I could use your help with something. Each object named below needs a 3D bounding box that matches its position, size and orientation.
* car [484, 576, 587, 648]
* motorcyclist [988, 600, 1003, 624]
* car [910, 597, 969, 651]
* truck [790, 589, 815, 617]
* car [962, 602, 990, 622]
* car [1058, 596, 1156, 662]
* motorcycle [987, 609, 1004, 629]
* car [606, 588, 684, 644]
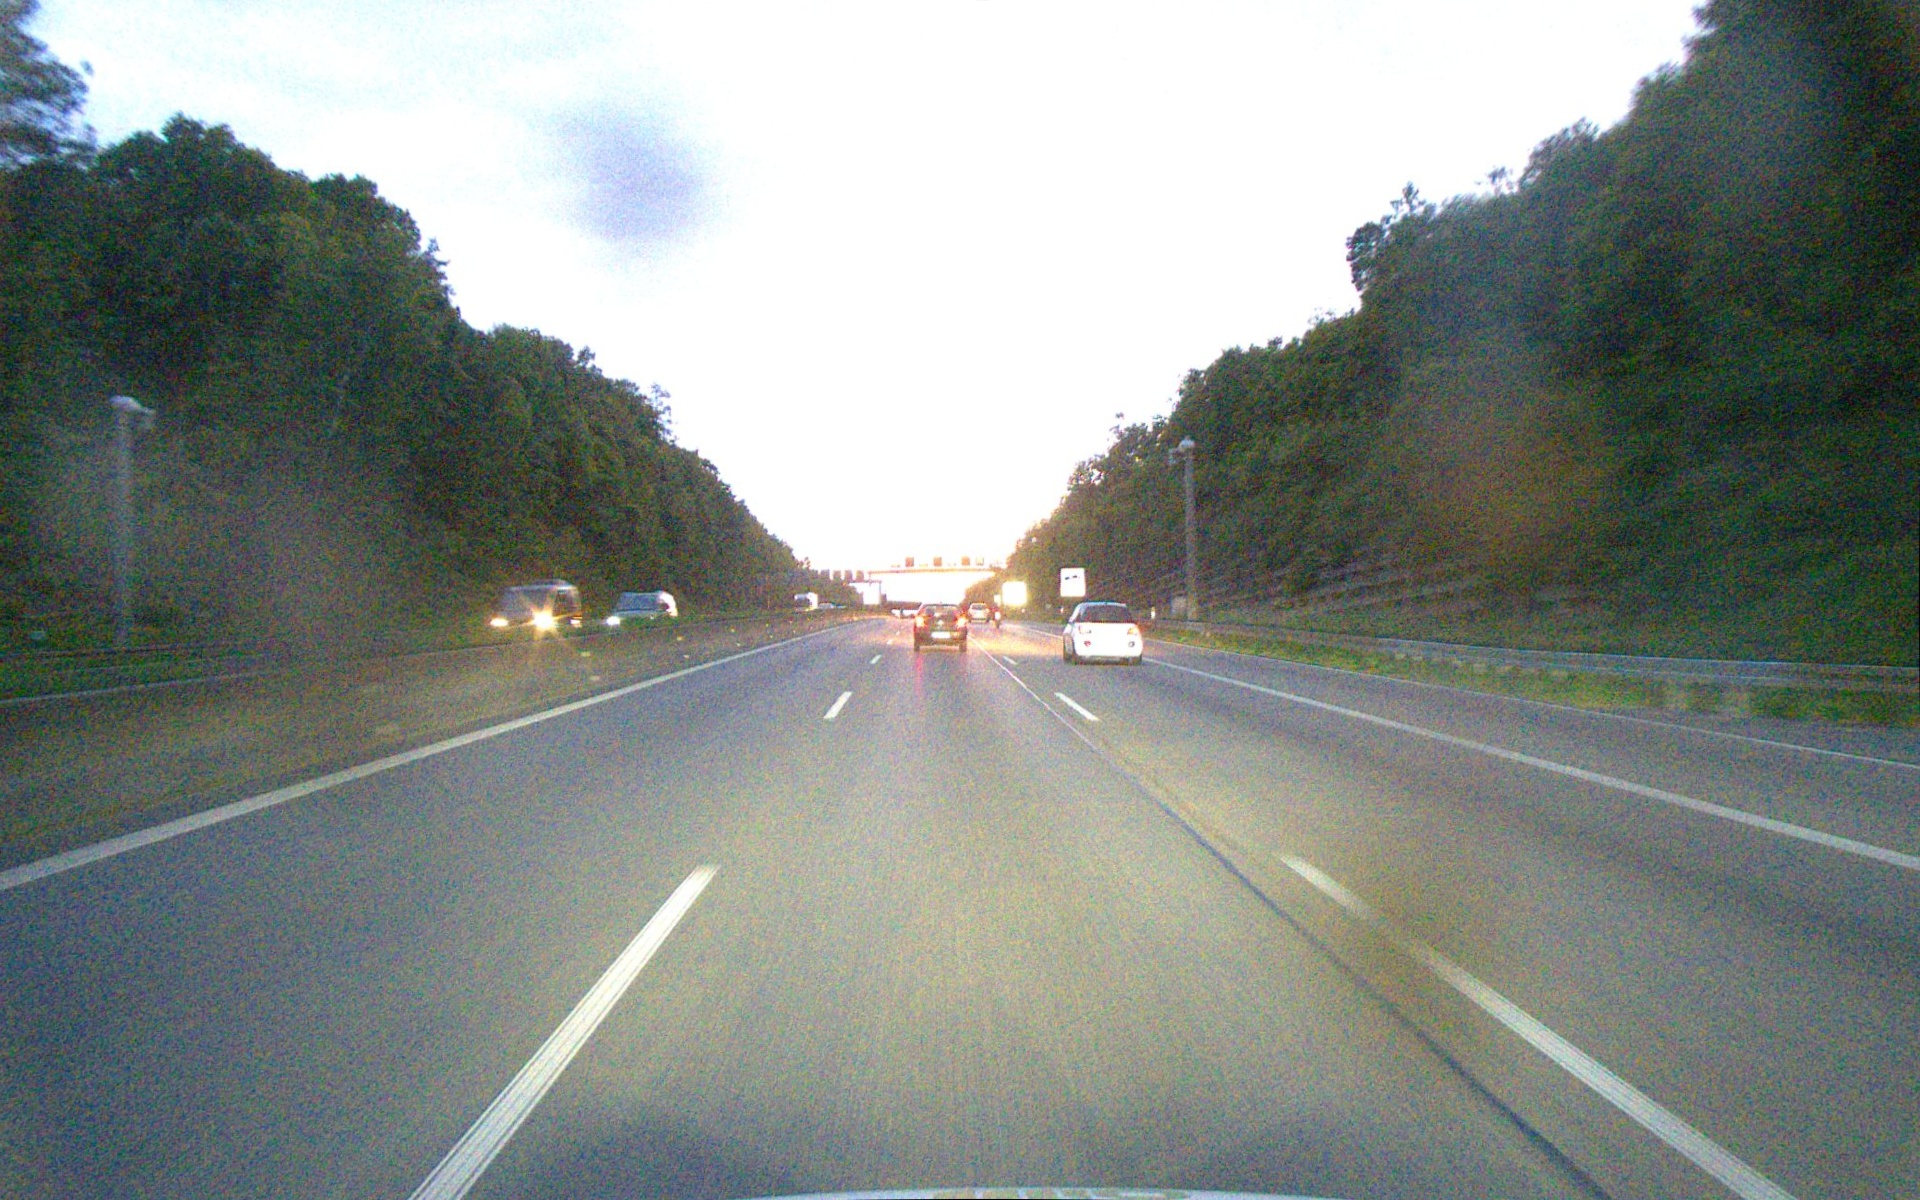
[{"bbox_3d":[-15.961,0.423,62.641,2.266,2.527,7.516,-1,0,-2],"label":"car"},{"bbox_3d":[2.018,0.686,94.172,0.813,1.314,1.189,0,-1,-2],"label":"motorcyclist"},{"bbox_3d":[-0.627,0.744,50.091,1.669,1.536,4.230,1,-1,-1],"label":"car"},{"bbox_3d":[-23.883,0.484,250.382,3.312,4.073,6.876,-1,0,-2],"label":"truck"},{"bbox_3d":[1.306,0.977,135.045,1.829,1.520,4.393,1,-1,-6],"label":"car"},{"bbox_3d":[3.565,0.729,40.758,1.789,1.502,4.395,1,-1,-3],"label":"car"},{"bbox_3d":[2.020,1.091,94.227,0.813,1.154,2.475,0,-1,-1],"label":"motorcycle"},{"bbox_3d":[-12.102,0.574,63.867,1.953,2.049,5.359,-1,0,0],"label":"car"}]
